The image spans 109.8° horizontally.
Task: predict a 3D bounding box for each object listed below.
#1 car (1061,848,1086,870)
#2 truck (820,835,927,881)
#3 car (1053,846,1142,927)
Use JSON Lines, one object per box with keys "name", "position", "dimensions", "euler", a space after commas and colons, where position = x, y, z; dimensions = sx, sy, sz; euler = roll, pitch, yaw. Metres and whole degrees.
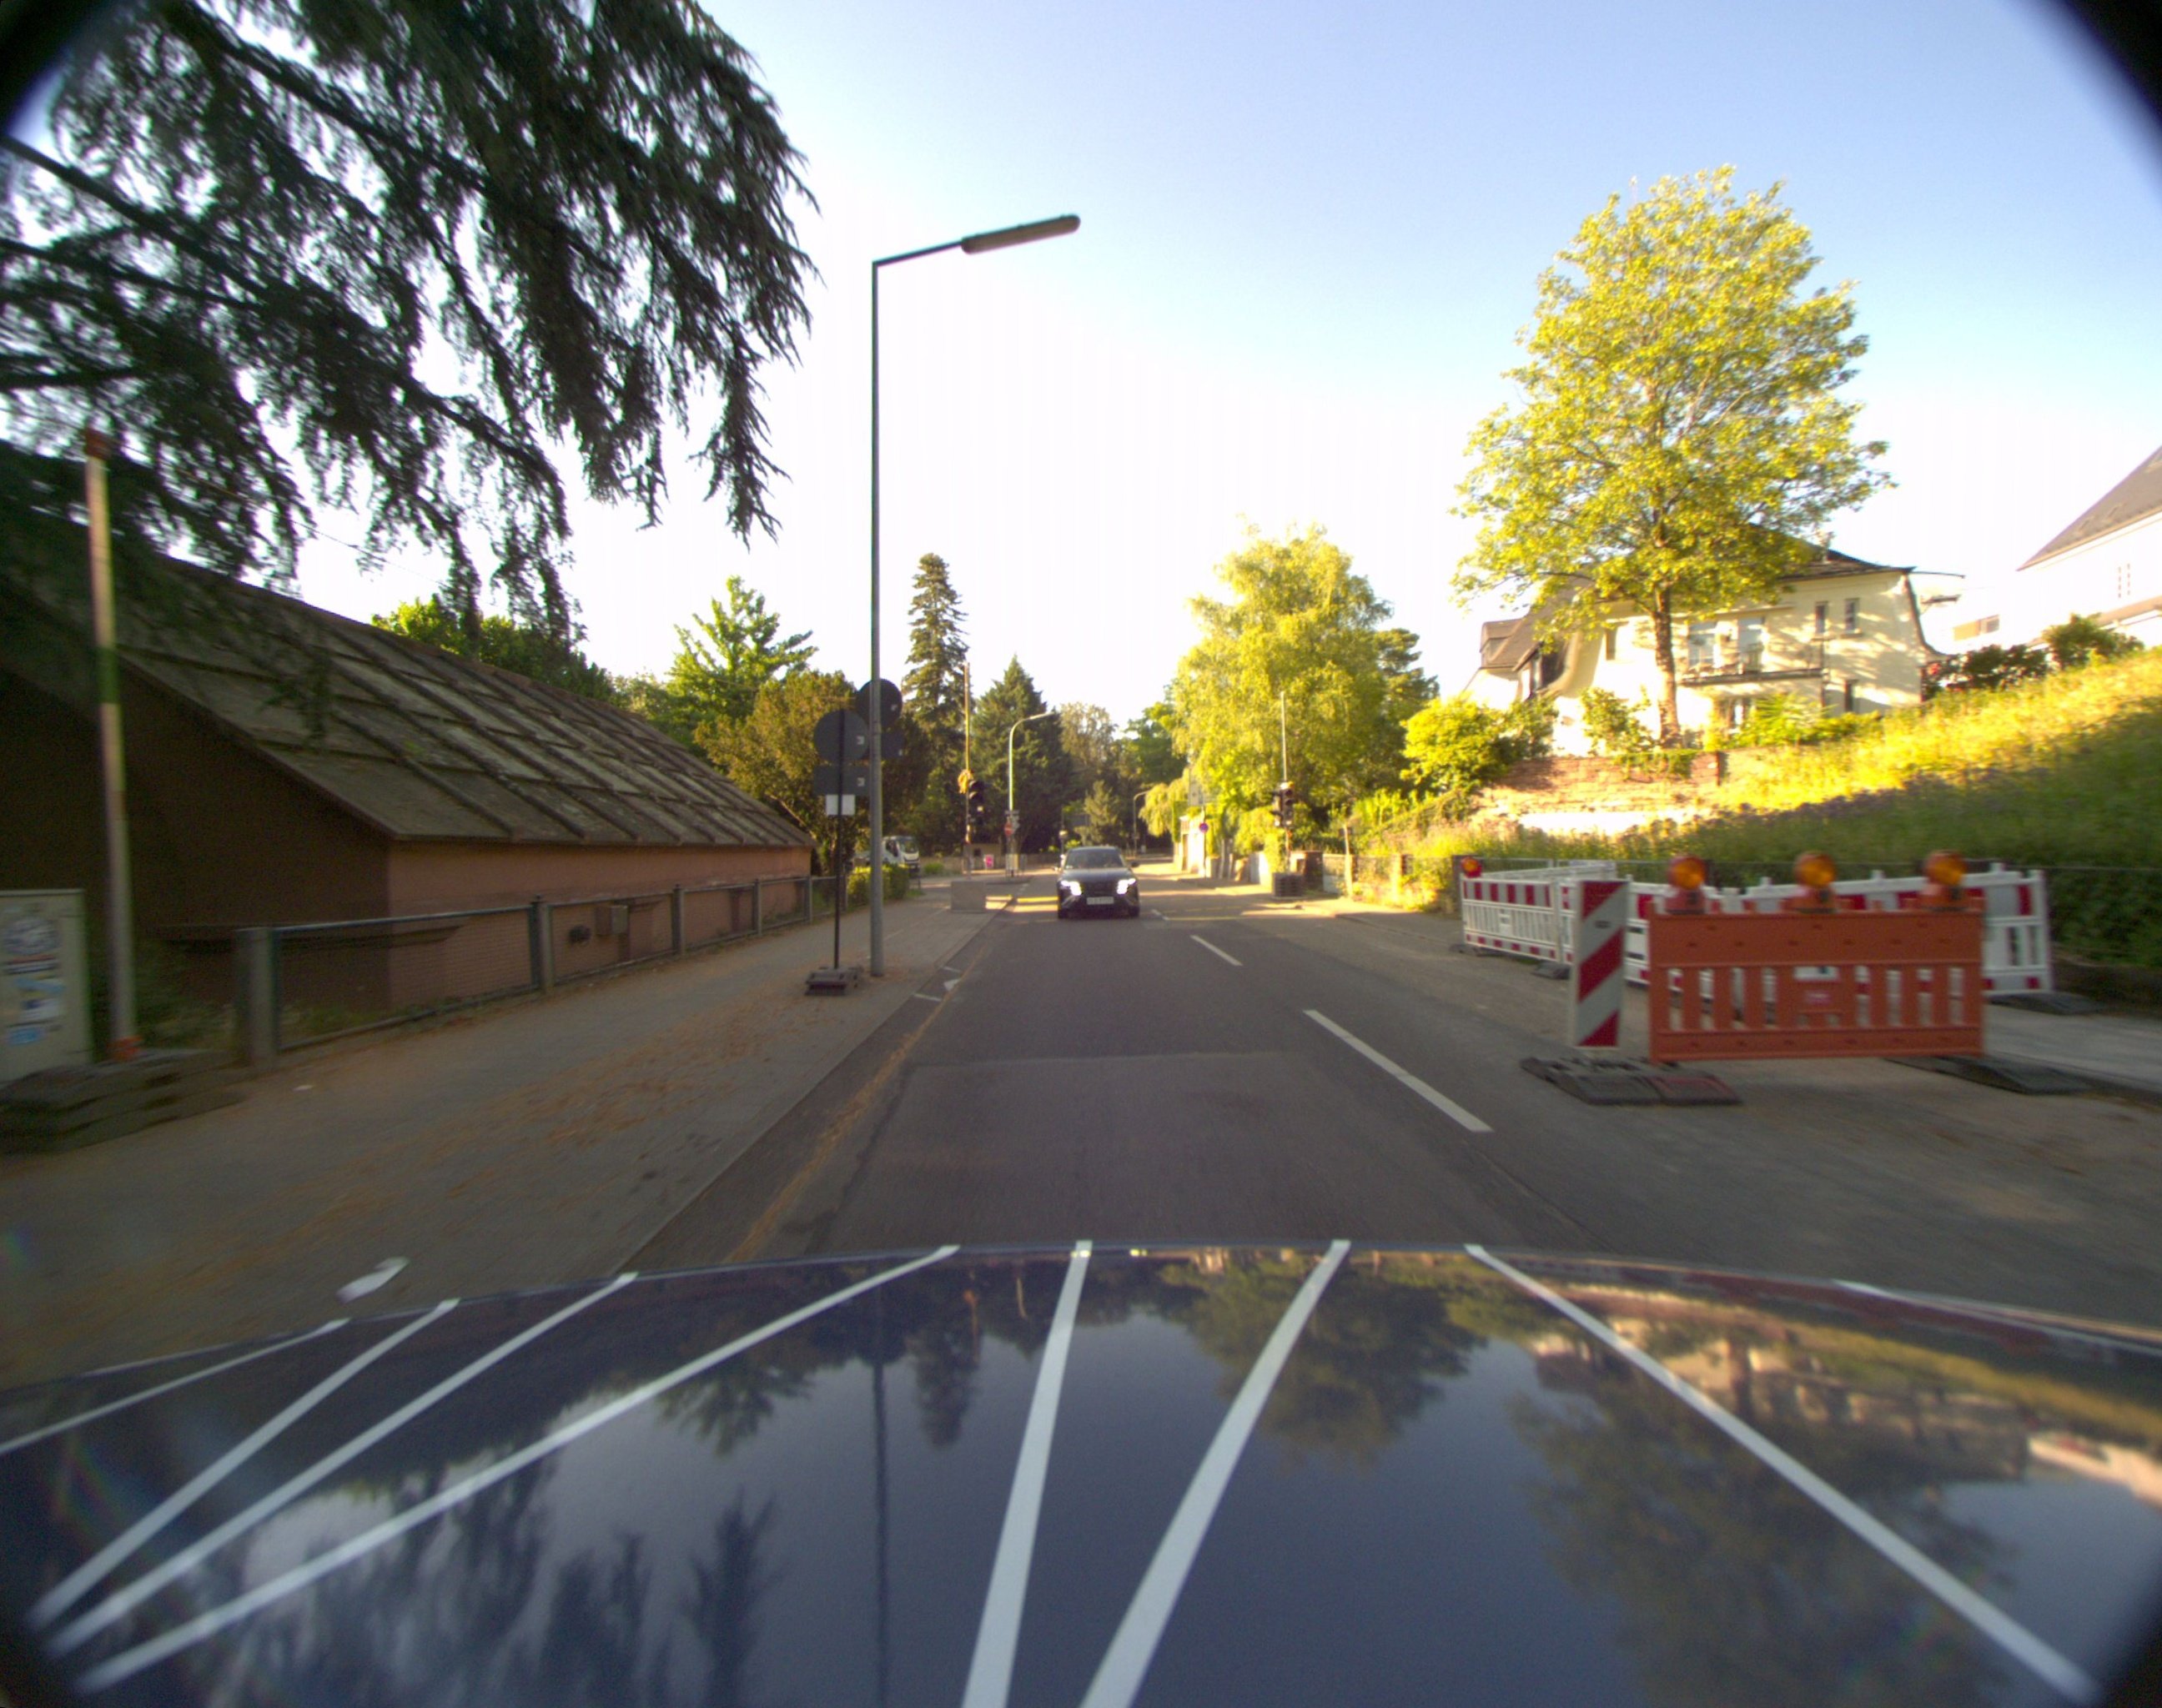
{"name": "car", "position": [-0.519, 0.341, 53.484], "dimensions": [1.662, 1.468, 3.682], "euler": [-1, 1, 0]}
{"name": "truck", "position": [-13.760, 0.259, 50.417], "dimensions": [6.497, 2.736, 2.373], "euler": [-2, 1, 20]}
{"name": "car", "position": [0.258, 0.667, 17.874], "dimensions": [1.788, 1.639, 4.473], "euler": [-1, 0, -3]}
